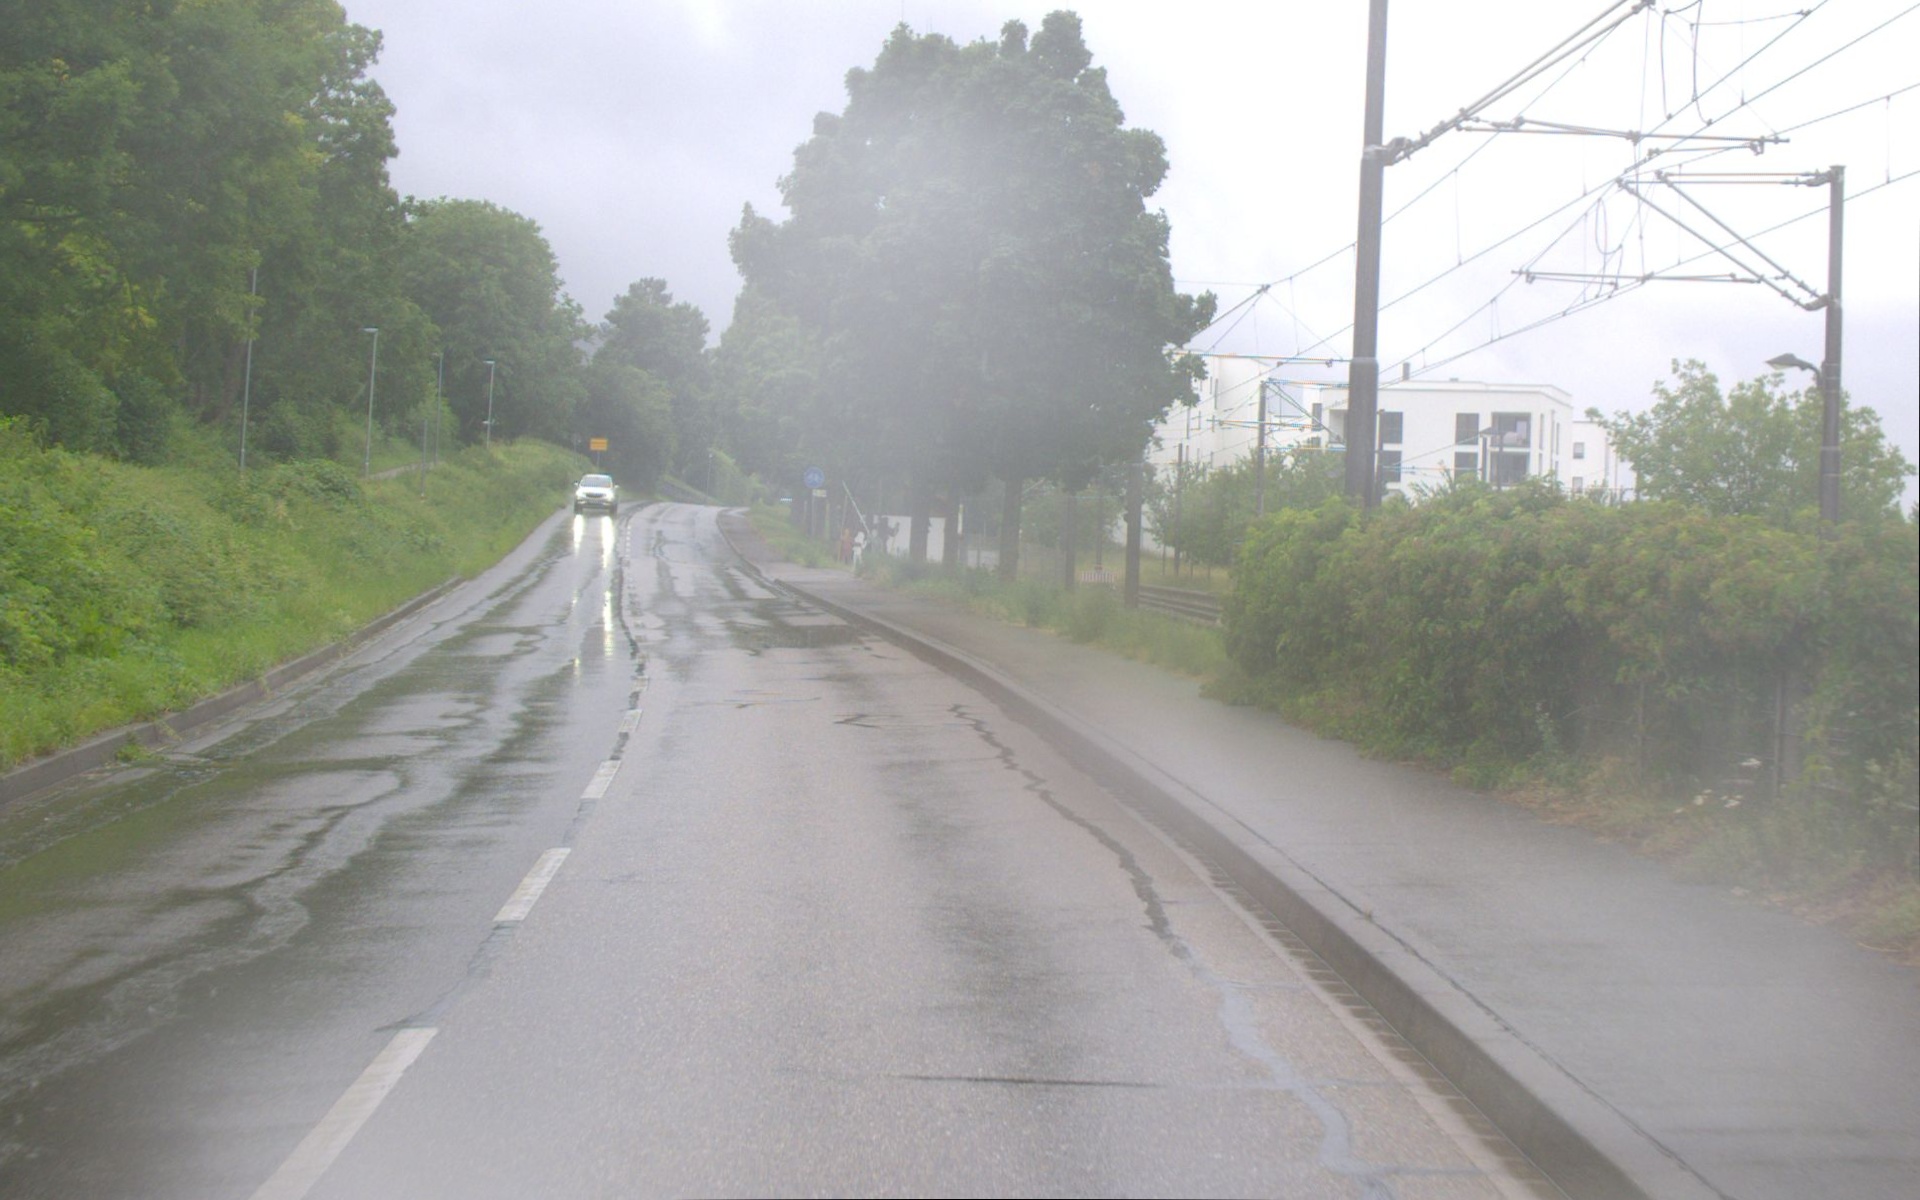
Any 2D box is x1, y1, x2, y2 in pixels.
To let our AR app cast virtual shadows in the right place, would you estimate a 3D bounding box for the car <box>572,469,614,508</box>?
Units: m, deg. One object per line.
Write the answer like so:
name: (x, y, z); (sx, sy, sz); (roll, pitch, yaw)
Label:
car: (-16.293, -4.981, 152.805); (1.744, 1.606, 4.089); (3, 2, -6)
